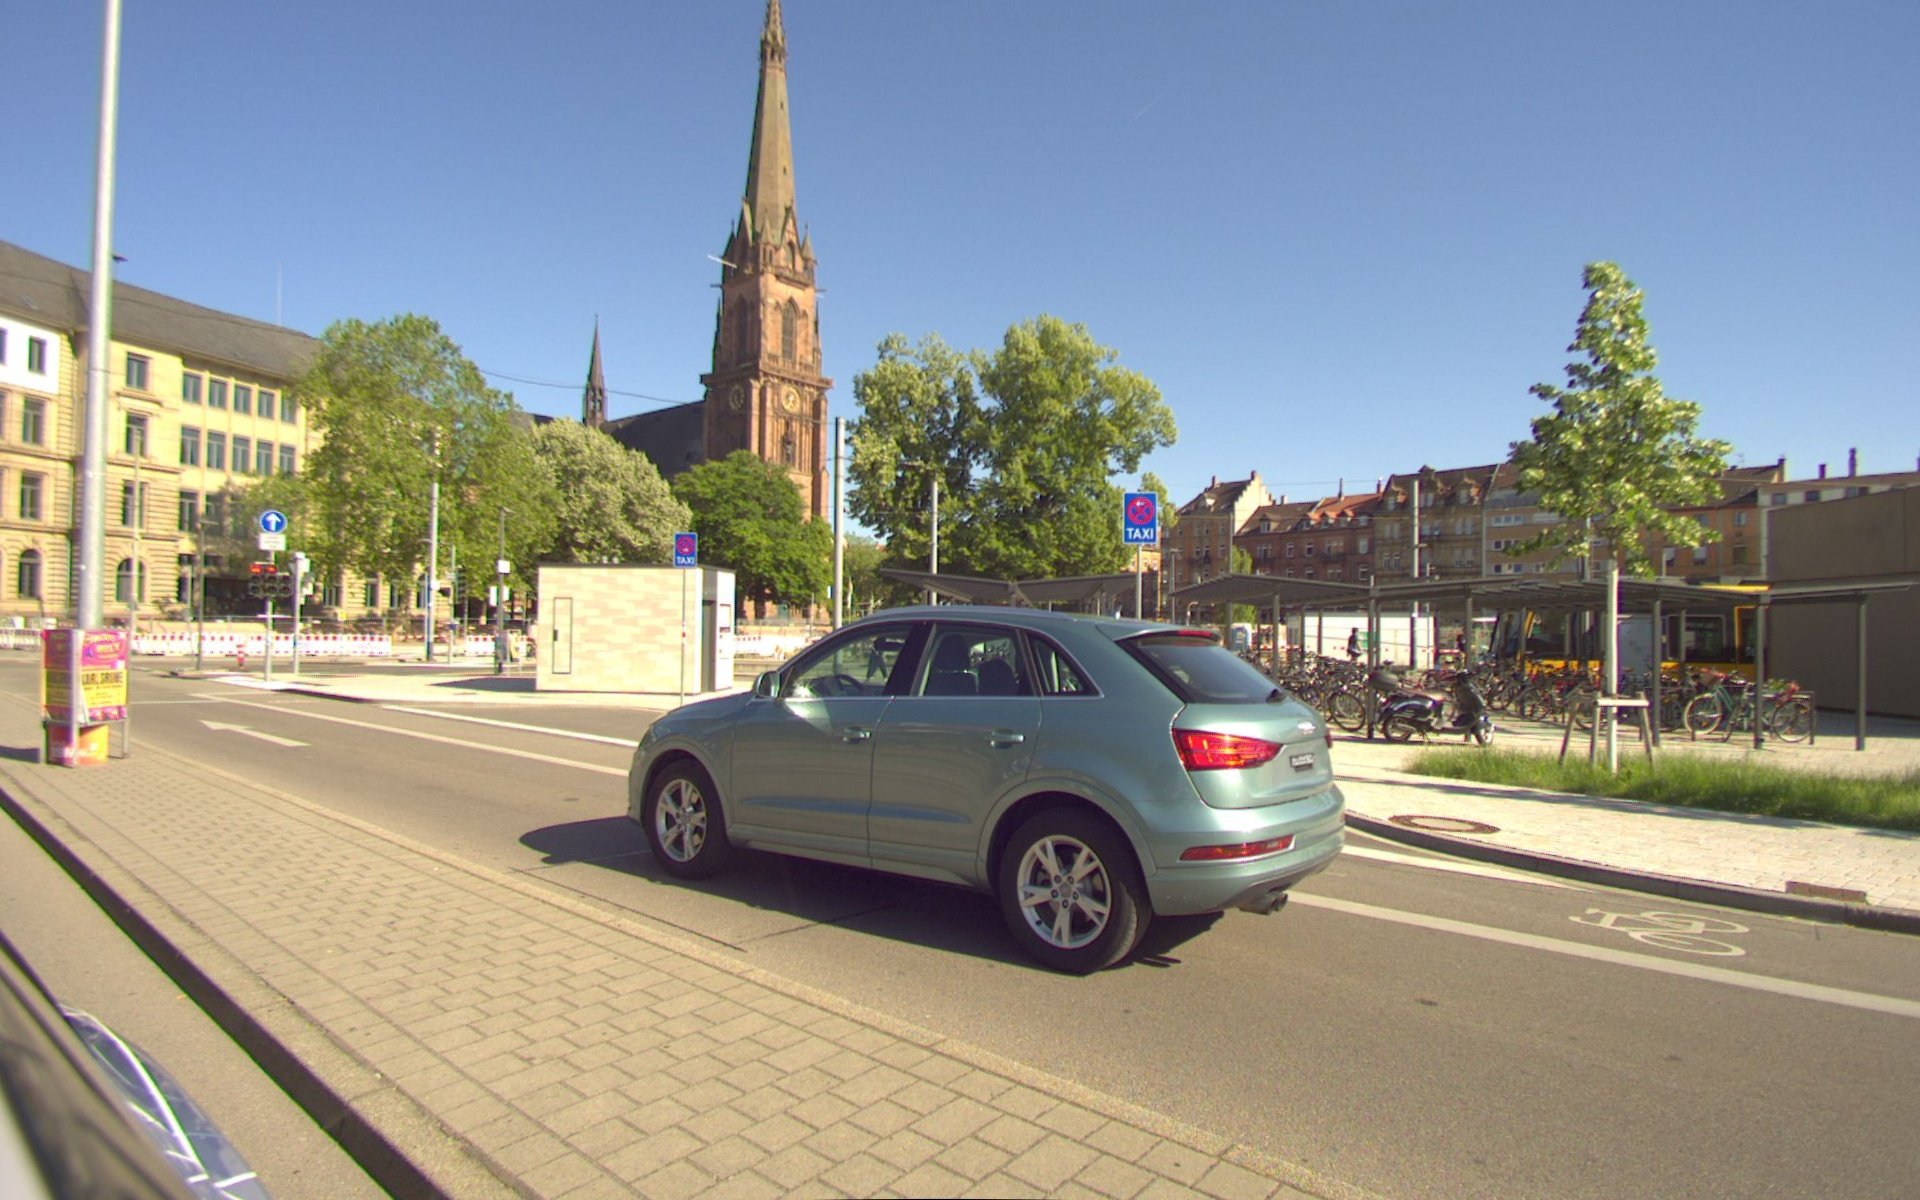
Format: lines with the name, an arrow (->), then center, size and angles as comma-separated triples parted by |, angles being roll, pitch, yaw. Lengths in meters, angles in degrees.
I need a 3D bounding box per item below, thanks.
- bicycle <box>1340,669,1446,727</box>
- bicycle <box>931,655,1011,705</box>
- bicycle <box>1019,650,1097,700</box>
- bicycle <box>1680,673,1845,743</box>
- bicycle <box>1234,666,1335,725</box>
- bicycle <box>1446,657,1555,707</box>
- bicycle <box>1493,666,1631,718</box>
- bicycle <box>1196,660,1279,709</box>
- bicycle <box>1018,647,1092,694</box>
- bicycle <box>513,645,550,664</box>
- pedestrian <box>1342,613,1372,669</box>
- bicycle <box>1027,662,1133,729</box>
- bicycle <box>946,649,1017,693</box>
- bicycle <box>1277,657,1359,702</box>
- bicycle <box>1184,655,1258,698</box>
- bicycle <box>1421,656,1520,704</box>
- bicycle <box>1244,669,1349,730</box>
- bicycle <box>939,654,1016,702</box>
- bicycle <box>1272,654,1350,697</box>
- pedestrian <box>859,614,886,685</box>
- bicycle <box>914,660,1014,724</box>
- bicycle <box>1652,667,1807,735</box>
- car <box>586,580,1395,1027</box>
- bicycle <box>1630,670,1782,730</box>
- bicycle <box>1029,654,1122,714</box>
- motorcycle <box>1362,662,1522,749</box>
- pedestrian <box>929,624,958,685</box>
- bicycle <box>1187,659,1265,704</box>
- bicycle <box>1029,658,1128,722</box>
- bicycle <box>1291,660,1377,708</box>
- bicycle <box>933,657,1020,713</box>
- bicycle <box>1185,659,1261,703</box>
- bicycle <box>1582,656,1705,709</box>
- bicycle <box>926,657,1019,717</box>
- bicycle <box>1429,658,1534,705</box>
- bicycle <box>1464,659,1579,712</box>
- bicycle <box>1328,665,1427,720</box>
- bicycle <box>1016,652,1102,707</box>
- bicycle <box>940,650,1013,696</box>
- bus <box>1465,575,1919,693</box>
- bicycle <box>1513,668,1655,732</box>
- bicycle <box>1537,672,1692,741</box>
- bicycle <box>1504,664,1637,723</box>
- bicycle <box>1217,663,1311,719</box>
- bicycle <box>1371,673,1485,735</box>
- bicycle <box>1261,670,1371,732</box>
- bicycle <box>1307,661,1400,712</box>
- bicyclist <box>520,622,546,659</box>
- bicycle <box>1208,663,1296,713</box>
bicycle -> 7.642, 1.724, 17.896 | 1.661, 0.980, 0.406 | -1, 0, 3
bicycle -> 0.229, 1.675, 21.408 | 1.663, 1.006, 0.406 | 0, 0, 8
bicycle -> 2.272, 1.730, 23.502 | 1.755, 1.083, 0.406 | 1, 0, 6
bicycle -> 12.766, 1.714, 16.142 | 2.048, 1.045, 0.533 | -1, 0, 8
bicycle -> 5.815, 1.709, 18.192 | 1.661, 0.980, 0.406 | 1, 0, 3
bicycle -> 11.865, 1.801, 22.260 | 2.048, 1.045, 0.533 | -1, 2, 8
bicycle -> 11.734, 1.796, 19.780 | 2.208, 0.951, 0.685 | -1, 0, 7
bicycle -> 5.925, 1.805, 21.644 | 1.661, 0.980, 0.406 | 1, -5, 3
bicycle -> 2.313, 1.723, 24.682 | 1.755, 1.083, 0.406 | 1, 0, 6
bicycle -> -18.288, 2.322, 43.246 | 0.731, 0.788, 2.052 | 0, -2, 0
pedestrian -> 13.972, 1.444, 35.646 | 0.793, 1.931, 0.769 | 0, -2, 4
bicycle -> 2.021, 1.605, 17.096 | 1.753, 1.083, 0.406 | 1, -3, 6
bicycle -> 0.517, 1.701, 24.191 | 1.663, 1.006, 0.406 | 0, 0, 8
bicycle -> 8.072, 1.787, 22.842 | 1.661, 0.980, 0.406 | -1, 0, 3
bicycle -> 6.255, 1.836, 24.316 | 1.661, 0.980, 0.406 | 1, -5, 3
bicycle -> 12.299, 1.919, 24.433 | 2.048, 1.045, 0.533 | 1, 3, 8
bicycle -> 5.793, 1.709, 17.467 | 1.661, 0.980, 0.406 | 1, 0, 3
bicycle -> 0.384, 1.704, 22.289 | 1.663, 1.006, 0.406 | 0, 0, 8
bicycle -> 8.291, 1.784, 23.919 | 1.661, 0.980, 0.406 | -1, 0, 3
pedestrian -> -2.343, 1.319, 27.171 | 0.691, 1.873, 0.621 | 0, -1, -7
bicycle -> 0.067, 1.573, 17.387 | 1.663, 1.006, 0.406 | 2, 0, 8
bicycle -> 12.988, 1.696, 17.120 | 2.030, 1.087, 0.604 | -1, 0, 7
car -> -0.042, 0.799, 5.633 | 4.250, 1.594, 1.771 | -1, -4, 37
bicycle -> 13.479, 1.797, 18.334 | 2.117, 1.005, 0.690 | -1, 0, 7
bicycle -> 2.235, 1.620, 19.586 | 1.755, 1.083, 0.406 | 1, 0, 6
motorcycle -> 7.193, 1.570, 15.164 | 2.059, 1.228, 0.569 | -1, -2, 3
pedestrian -> -0.458, 1.485, 27.810 | 0.694, 1.635, 0.619 | 0, -2, 8
bicycle -> 6.052, 1.859, 23.055 | 1.661, 0.980, 0.406 | 1, -5, 3
bicycle -> 2.139, 1.616, 18.341 | 1.753, 1.083, 0.406 | 1, 0, 6
bicycle -> 7.988, 1.789, 21.627 | 1.661, 0.980, 0.406 | -1, 0, 3
bicycle -> 0.327, 1.663, 19.949 | 1.663, 1.006, 0.406 | 2, 0, 8
bicycle -> 6.136, 1.881, 23.628 | 1.661, 0.980, 0.406 | 1, -5, 3
bicycle -> 14.077, 1.696, 20.881 | 2.048, 1.045, 0.533 | -1, 0, 8
bicycle -> 0.231, 1.596, 18.605 | 1.663, 1.006, 0.406 | 2, 0, 8
bicycle -> 12.030, 1.879, 23.378 | 2.048, 1.045, 0.533 | -1, -4, 8
bicycle -> 11.775, 1.794, 21.269 | 2.048, 1.045, 0.533 | -1, 2, 8
bicycle -> 7.841, 1.730, 19.017 | 1.661, 0.980, 0.406 | -1, 0, 3
bicycle -> 2.052, 1.642, 20.977 | 1.755, 1.083, 0.406 | 1, 0, 6
bicycle -> 0.392, 1.701, 23.666 | 1.663, 1.006, 0.406 | 0, 0, 8
bus -> 21.964, 0.932, 28.650 | 13.462, 3.095, 2.859 | 0, -2, 6
bicycle -> 10.861, 1.739, 17.659 | 2.048, 1.045, 0.533 | -1, 0, 8
bicycle -> 10.572, 1.710, 16.393 | 2.048, 1.045, 0.533 | -1, 0, 8
bicycle -> 11.321, 1.732, 18.817 | 2.048, 1.045, 0.533 | -1, 0, 8
bicycle -> 5.813, 1.736, 19.380 | 1.661, 0.980, 0.406 | 1, 0, 3
bicycle -> 7.767, 1.723, 16.825 | 1.661, 0.980, 0.406 | -1, 0, 3
bicycle -> 5.933, 1.684, 16.894 | 1.661, 0.980, 0.406 | -1, 0, 3
bicycle -> 7.857, 1.729, 20.233 | 1.661, 0.980, 0.406 | -1, 0, 3
bicyclist -> -18.243, 1.731, 43.258 | 0.731, 1.583, 0.885 | 0, -2, 1
bicycle -> 5.924, 1.784, 20.568 | 1.661, 0.980, 0.406 | 1, -5, 3
